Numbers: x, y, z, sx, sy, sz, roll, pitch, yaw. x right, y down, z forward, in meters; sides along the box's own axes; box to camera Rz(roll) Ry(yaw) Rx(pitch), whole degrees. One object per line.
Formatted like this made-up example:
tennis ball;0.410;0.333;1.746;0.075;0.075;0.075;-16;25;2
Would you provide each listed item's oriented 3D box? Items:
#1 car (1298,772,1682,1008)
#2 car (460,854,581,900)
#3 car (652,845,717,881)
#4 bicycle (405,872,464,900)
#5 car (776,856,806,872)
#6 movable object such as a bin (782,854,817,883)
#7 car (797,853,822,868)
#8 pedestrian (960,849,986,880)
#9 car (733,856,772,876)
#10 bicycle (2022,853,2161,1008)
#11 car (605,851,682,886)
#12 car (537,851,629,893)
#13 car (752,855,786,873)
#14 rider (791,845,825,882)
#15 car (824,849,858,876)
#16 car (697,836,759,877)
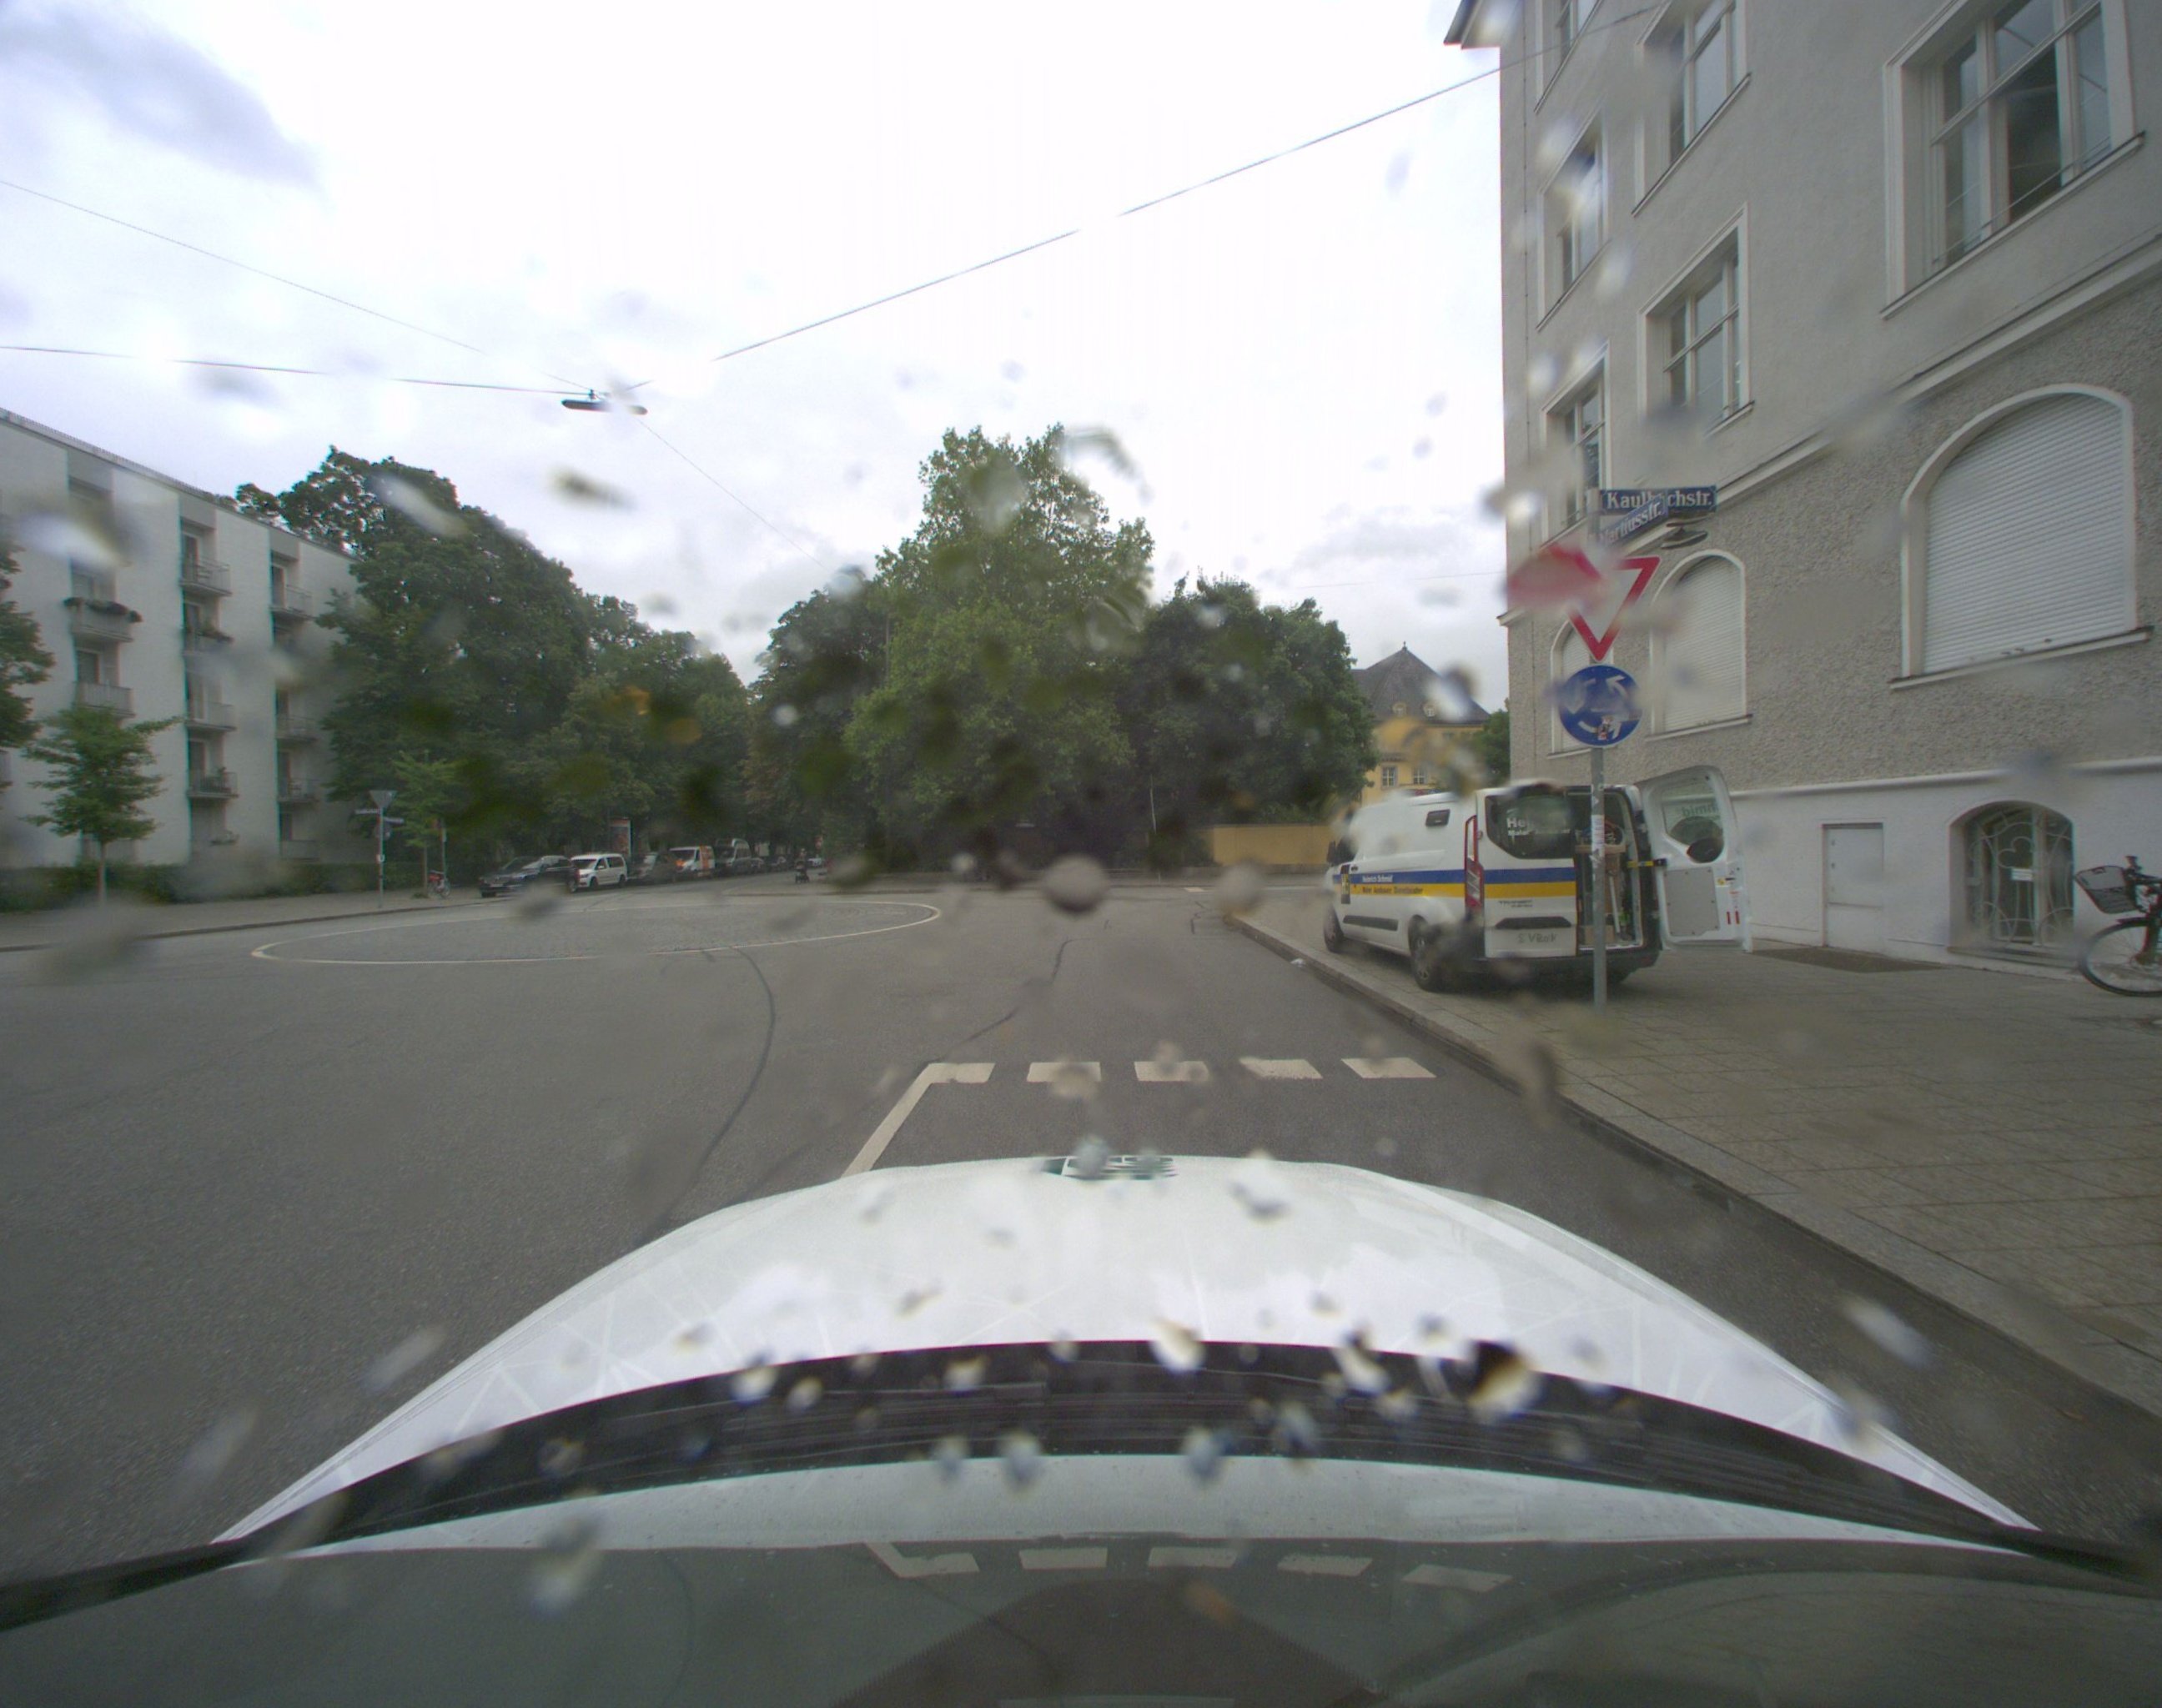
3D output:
car;4.201;0.274;9.503;1.910;1.961;4.925;-2;1;-1
car;-23.934;0.906;35.054;2.061;1.767;4.899;-1;0;-5
car;-26.282;0.574;54.170;2.107;2.251;5.186;-1;0;-5
bicycle;-26.196;1.273;33.042;0.909;1.051;1.969;-1;0;-4
car;-29.463;0.975;82.793;1.893;1.571;4.066;-1;0;-6
movable object such as a bin;-13.229;0.660;38.283;1.072;1.267;1.089;-4;0;8
car;-31.237;0.710;93.763;1.893;1.571;4.066;-1;0;-6
pedestrian;-4.281;0.416;32.301;0.807;1.189;0.921;-1;0;6
car;-27.972;0.979;69.413;1.893;1.571;4.301;-1;0;-6
bicycle;8.314;0.576;5.752;0.692;1.094;2.283;-3;1;1
car;-25.144;0.782;47.052;2.061;1.859;4.978;-1;0;-5
car;-24.586;0.821;40.447;1.923;1.894;4.857;-1;0;-6
car;-28.402;0.884;74.303;1.893;1.538;4.066;-1;0;-6
rider;-13.123;0.449;39.180;1.076;1.667;1.142;-4;0;8
car;-18.128;0.609;61.685;2.042;1.922;4.430;-1;1;-11
car;-27.395;0.166;63.470;2.331;2.922;6.568;-1;0;-5
